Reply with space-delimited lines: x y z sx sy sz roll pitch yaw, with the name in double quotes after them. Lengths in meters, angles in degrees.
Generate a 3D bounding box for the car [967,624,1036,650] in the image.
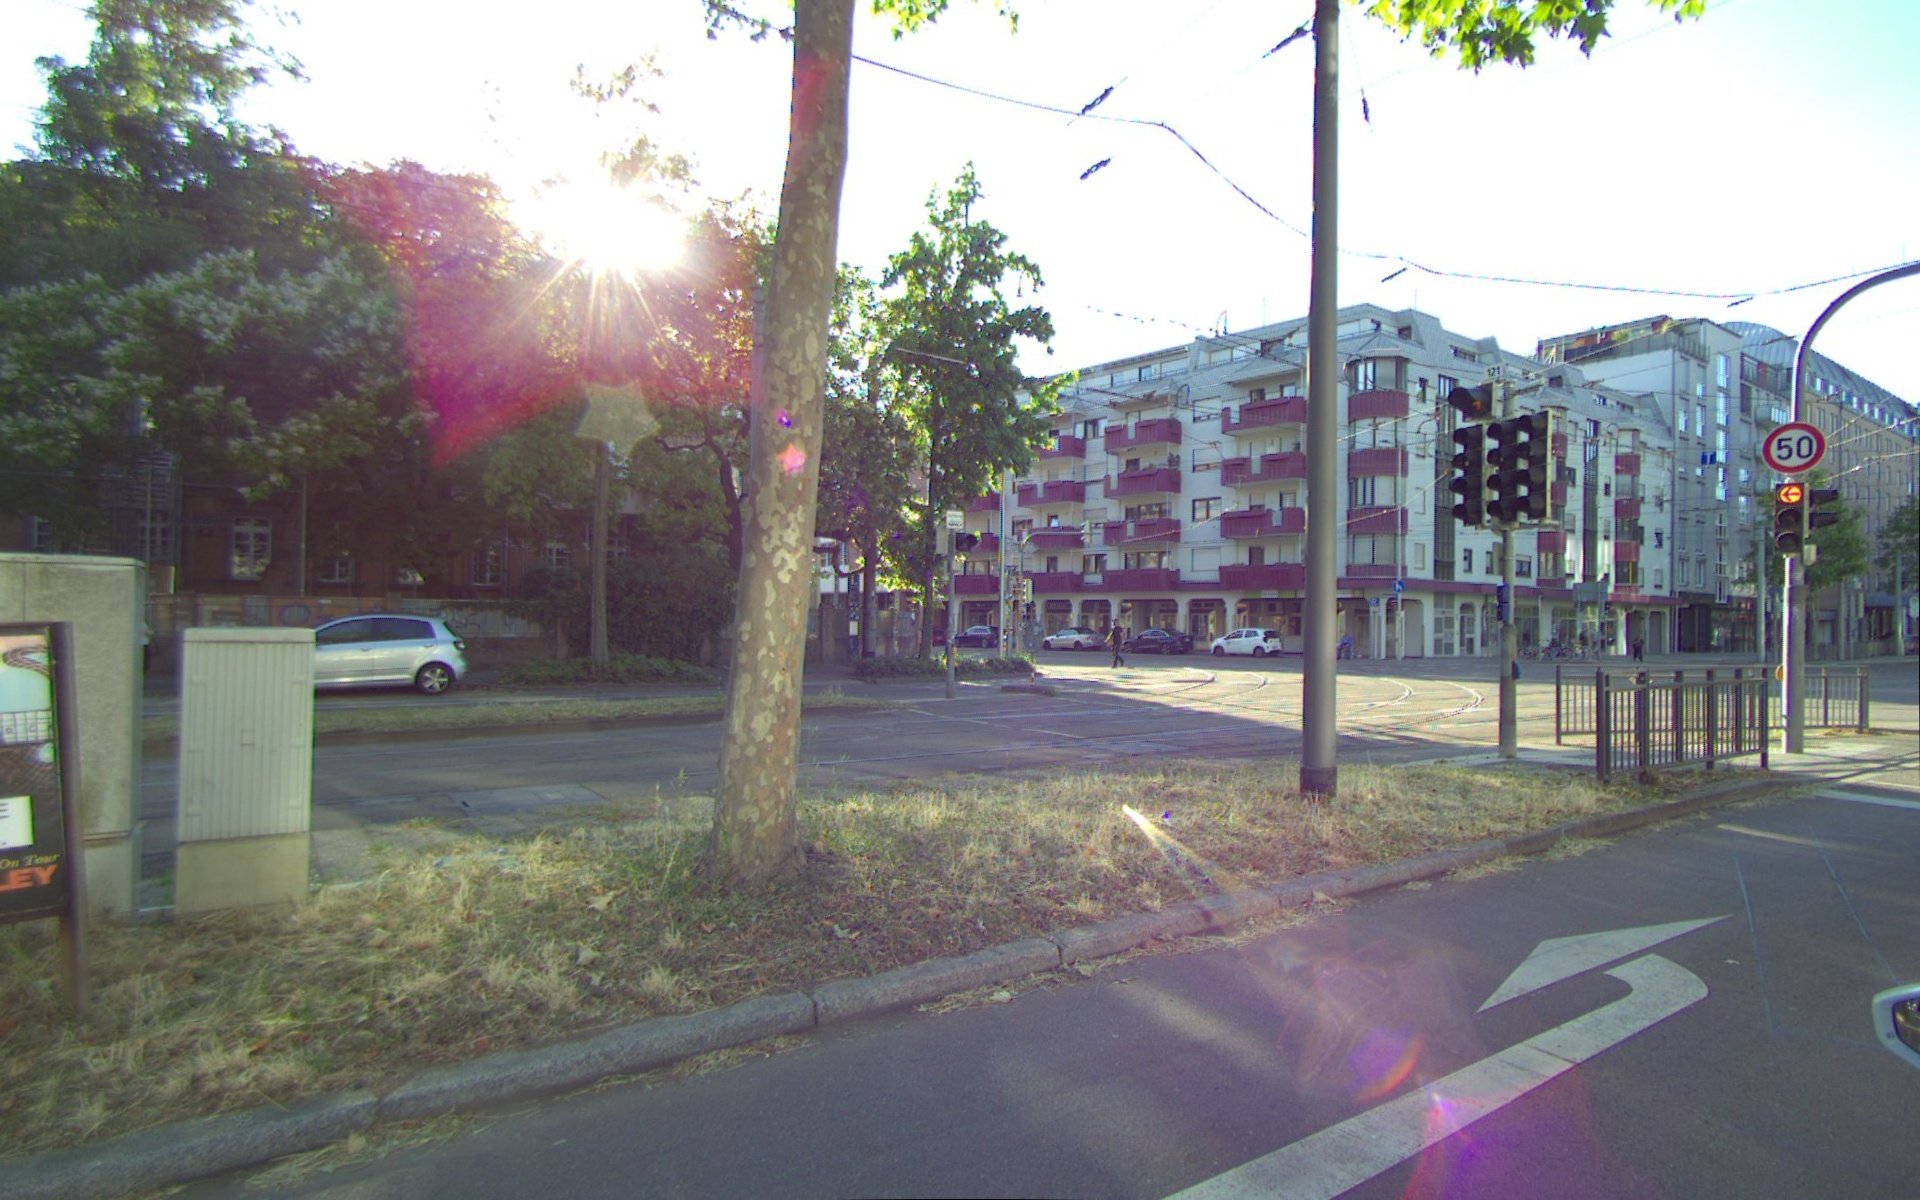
2.721 2.419 66.238 1.986 1.576 4.527 2 -2 -42 "car"

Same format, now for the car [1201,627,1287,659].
14.890 2.247 52.768 1.986 1.576 3.950 2 -2 -42 "car"

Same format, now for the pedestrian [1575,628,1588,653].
37.599 2.433 60.744 0.582 1.514 0.530 1 -1 -38 "pedestrian"

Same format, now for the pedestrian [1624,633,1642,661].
38.089 2.663 56.870 0.681 1.564 1.048 0 -1 24 "pedestrian"

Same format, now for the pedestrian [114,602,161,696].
-15.185 0.895 18.553 0.626 1.687 0.563 1 1 -37 "pedestrian"

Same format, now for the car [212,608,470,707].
-11.985 1.047 19.545 4.062 1.641 2.065 2 1 -38 "car"

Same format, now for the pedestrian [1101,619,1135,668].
5.779 1.573 36.676 1.010 1.775 0.728 1 -1 -38 "pedestrian"

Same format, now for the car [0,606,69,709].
-16.893 0.879 15.586 4.418 1.522 2.065 2 1 -38 "car"

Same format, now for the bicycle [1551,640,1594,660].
31.980 2.620 52.459 0.548 0.998 1.830 1 -1 -36 "bicycle"

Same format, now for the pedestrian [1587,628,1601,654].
38.020 2.443 60.246 0.582 1.514 0.530 1 -1 -38 "pedestrian"

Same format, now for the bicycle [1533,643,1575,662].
30.410 2.682 51.454 0.547 0.865 1.833 1 -1 -32 "bicycle"

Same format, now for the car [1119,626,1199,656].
11.161 2.272 56.613 1.986 1.576 4.072 2 -2 -42 "car"

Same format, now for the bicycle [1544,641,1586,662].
31.423 2.674 52.208 0.548 0.998 1.830 1 -1 -36 "bicycle"

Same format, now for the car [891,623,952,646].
-2.811 2.452 72.209 1.986 1.576 4.527 2 -2 -42 "car"

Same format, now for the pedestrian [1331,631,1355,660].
19.058 2.258 49.999 0.848 1.402 0.831 0 -1 45 "pedestrian"

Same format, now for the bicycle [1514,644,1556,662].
29.492 2.687 51.533 0.547 0.865 1.833 1 -1 -32 "bicycle"

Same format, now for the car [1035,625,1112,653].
6.887 2.355 61.199 1.986 1.576 4.527 2 -2 -42 "car"
